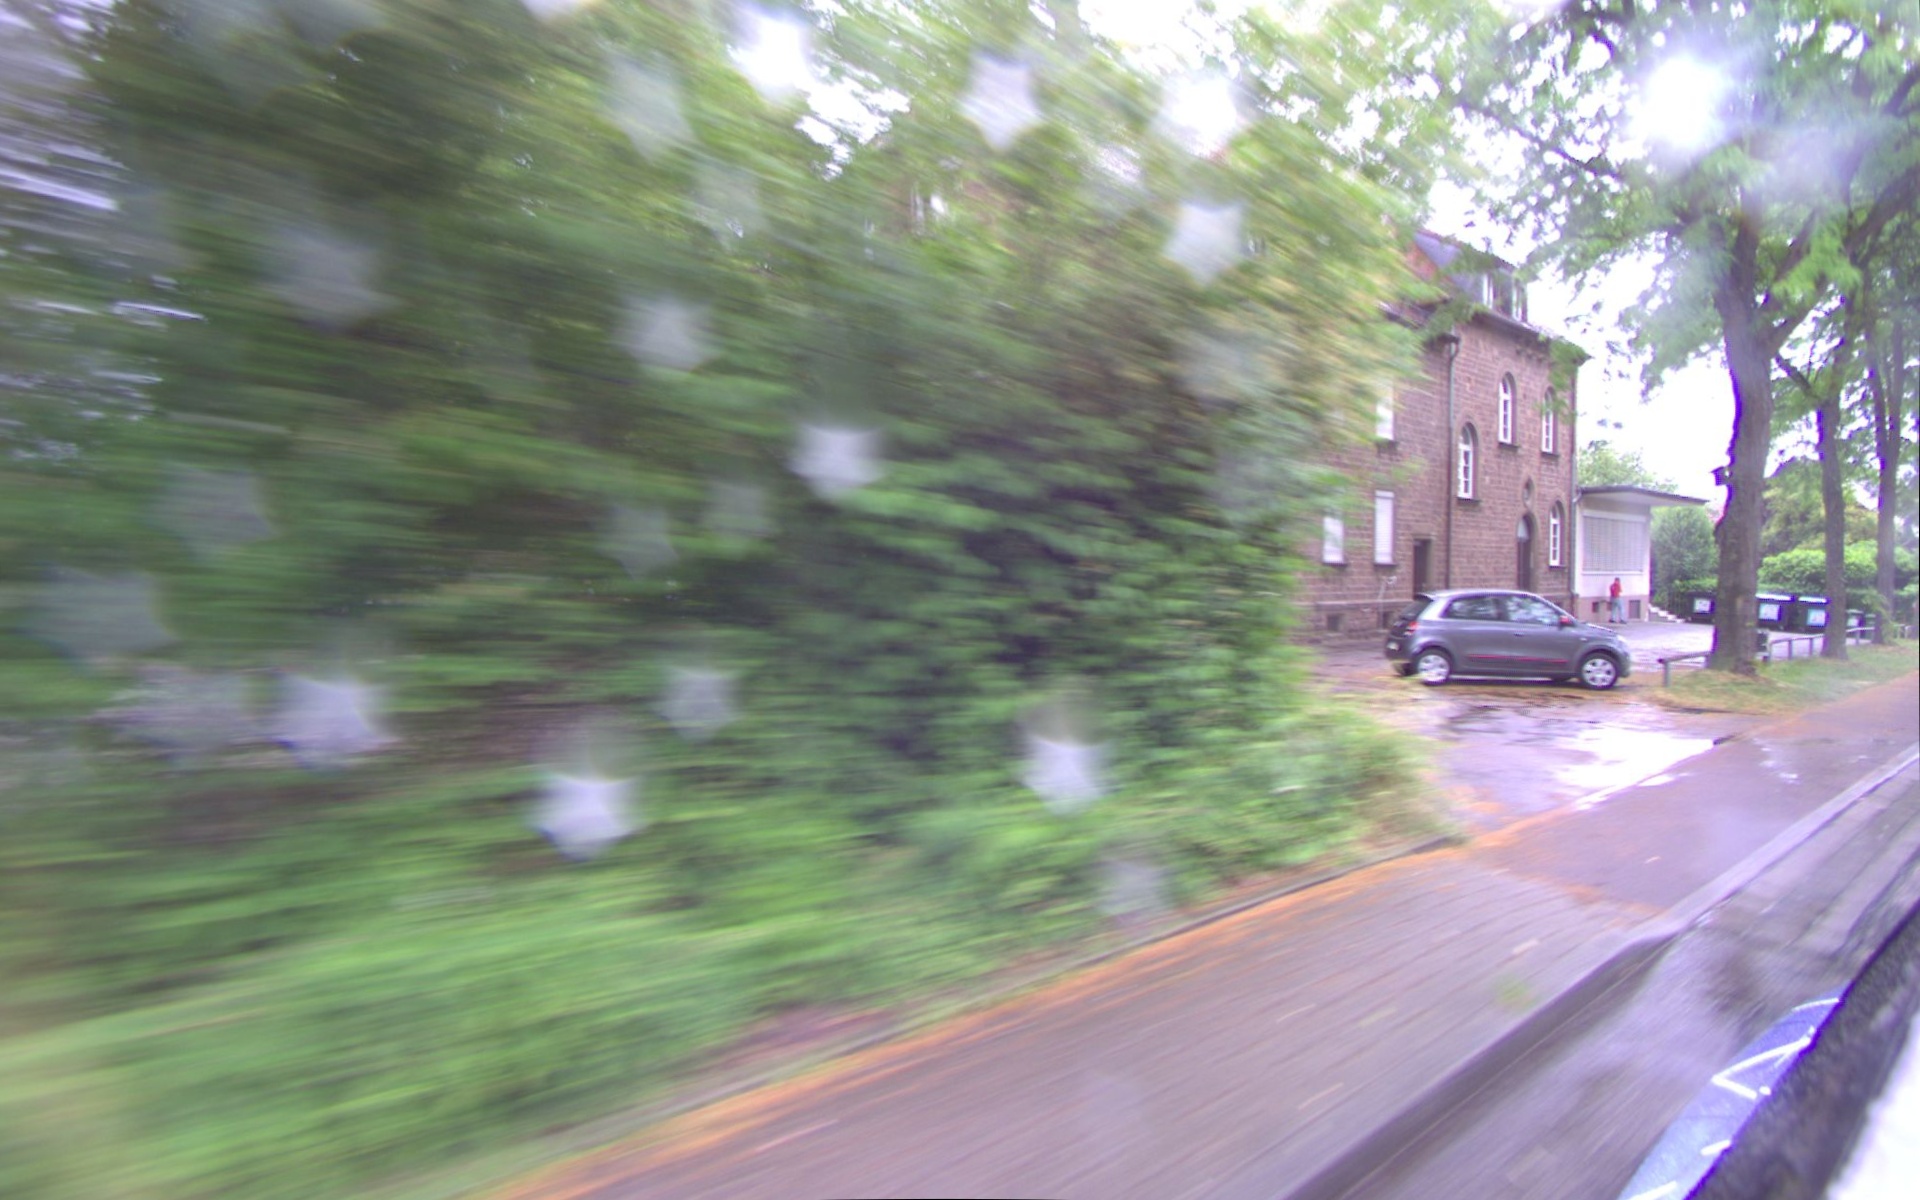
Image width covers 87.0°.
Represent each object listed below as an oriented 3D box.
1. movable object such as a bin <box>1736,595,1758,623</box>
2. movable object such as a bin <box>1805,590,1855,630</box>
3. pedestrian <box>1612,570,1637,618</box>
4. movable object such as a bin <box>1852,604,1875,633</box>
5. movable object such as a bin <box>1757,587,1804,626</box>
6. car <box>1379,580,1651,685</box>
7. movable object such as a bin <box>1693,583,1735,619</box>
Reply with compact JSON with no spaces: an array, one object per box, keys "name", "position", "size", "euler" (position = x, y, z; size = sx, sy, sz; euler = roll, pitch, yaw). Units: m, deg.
[{"name":"movable object such as a bin","position":[32.134,0.371,41.318],"size":[0.521,1.092,0.567],"euler":[0,4,-43]},{"name":"movable object such as a bin","position":[33.762,0.370,39.298],"size":[0.782,1.435,1.295],"euler":[0,5,-42]},{"name":"pedestrian","position":[24.915,-0.220,37.944],"size":[0.851,1.776,0.535],"euler":[2,1,-41]},{"name":"movable object such as a bin","position":[34.449,0.700,38.601],"size":[0.455,1.035,0.538],"euler":[0,4,-43]},{"name":"movable object such as a bin","position":[32.854,0.250,40.521],"size":[0.782,1.453,1.237],"euler":[0,5,-42]},{"name":"car","position":[8.995,0.478,16.675],"size":[3.556,1.570,1.617],"euler":[1,1,11]},{"name":"movable object such as a bin","position":[31.366,0.028,42.107],"size":[0.782,1.359,1.151],"euler":[0,5,-42]}]
